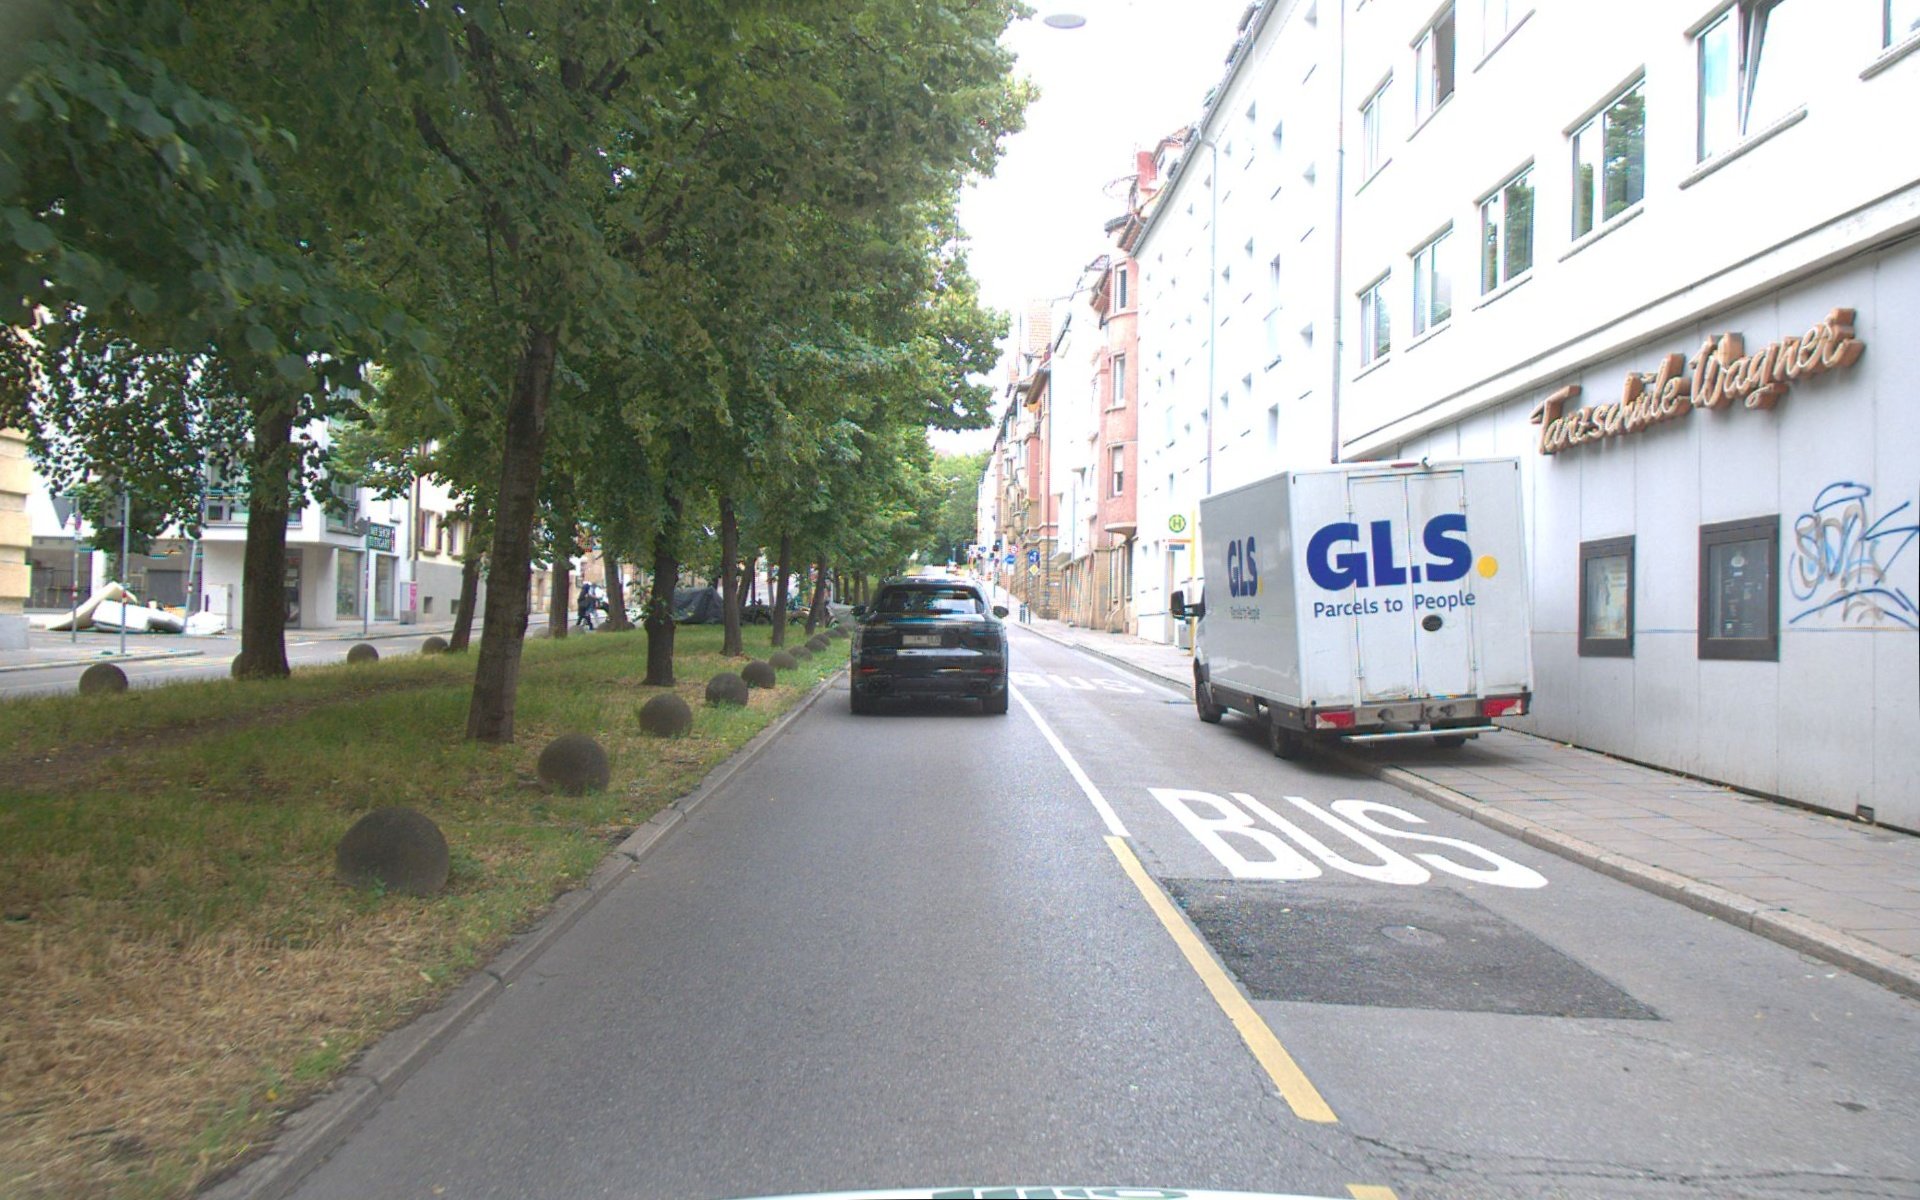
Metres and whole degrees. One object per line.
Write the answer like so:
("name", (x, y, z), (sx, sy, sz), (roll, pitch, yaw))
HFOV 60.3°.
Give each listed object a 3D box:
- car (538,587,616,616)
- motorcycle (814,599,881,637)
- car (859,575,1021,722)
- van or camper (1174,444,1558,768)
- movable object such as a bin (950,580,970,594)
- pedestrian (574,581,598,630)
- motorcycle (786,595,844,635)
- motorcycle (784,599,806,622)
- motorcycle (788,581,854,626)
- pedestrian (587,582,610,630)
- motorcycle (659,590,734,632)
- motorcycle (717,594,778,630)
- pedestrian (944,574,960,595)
("car", (-21.536, 0.074, 93.185), (3.906, 1.523, 2.000), (1, 0, -1))
("motorcycle", (-3.957, 0.639, 58.328), (2.308, 1.257, 1.033), (1, 2, -3))
("car", (-0.317, 0.564, 21.379), (1.865, 1.695, 4.133), (1, 0, -2))
("van or camper", (4.090, 0.047, 18.368), (2.429, 2.852, 7.237), (-1, 0, 0))
("movable object such as a bin", (0.004, -1.297, 165.745), (1.224, 1.296, 1.827), (1, 0, -31))
("pedestrian", (-12.713, 0.188, 56.266), (0.621, 1.641, 0.764), (2, 0, -2))
("motorcycle", (-4.872, 0.503, 55.616), (1.886, 1.319, 0.893), (1, -2, -3))
("motorcycle", (-8.260, 0.541, 82.650), (0.882, 1.126, 2.250), (0, -2, 0))
("motorcycle", (-4.734, 0.119, 56.423), (2.148, 1.464, 0.874), (1, 0, 1))
("pedestrian", (-12.526, 0.193, 57.314), (0.649, 1.644, 0.579), (1, 0, 1))
("motorcycle", (-8.824, 0.364, 55.486), (2.334, 1.340, 1.045), (1, 0, -2))
("motorcycle", (-7.544, 0.415, 58.716), (1.986, 1.257, 0.897), (1, 0, 4))
("pedestrian", (-0.836, -1.584, 166.976), (1.288, 2.049, 1.009), (1, 0, -32))
